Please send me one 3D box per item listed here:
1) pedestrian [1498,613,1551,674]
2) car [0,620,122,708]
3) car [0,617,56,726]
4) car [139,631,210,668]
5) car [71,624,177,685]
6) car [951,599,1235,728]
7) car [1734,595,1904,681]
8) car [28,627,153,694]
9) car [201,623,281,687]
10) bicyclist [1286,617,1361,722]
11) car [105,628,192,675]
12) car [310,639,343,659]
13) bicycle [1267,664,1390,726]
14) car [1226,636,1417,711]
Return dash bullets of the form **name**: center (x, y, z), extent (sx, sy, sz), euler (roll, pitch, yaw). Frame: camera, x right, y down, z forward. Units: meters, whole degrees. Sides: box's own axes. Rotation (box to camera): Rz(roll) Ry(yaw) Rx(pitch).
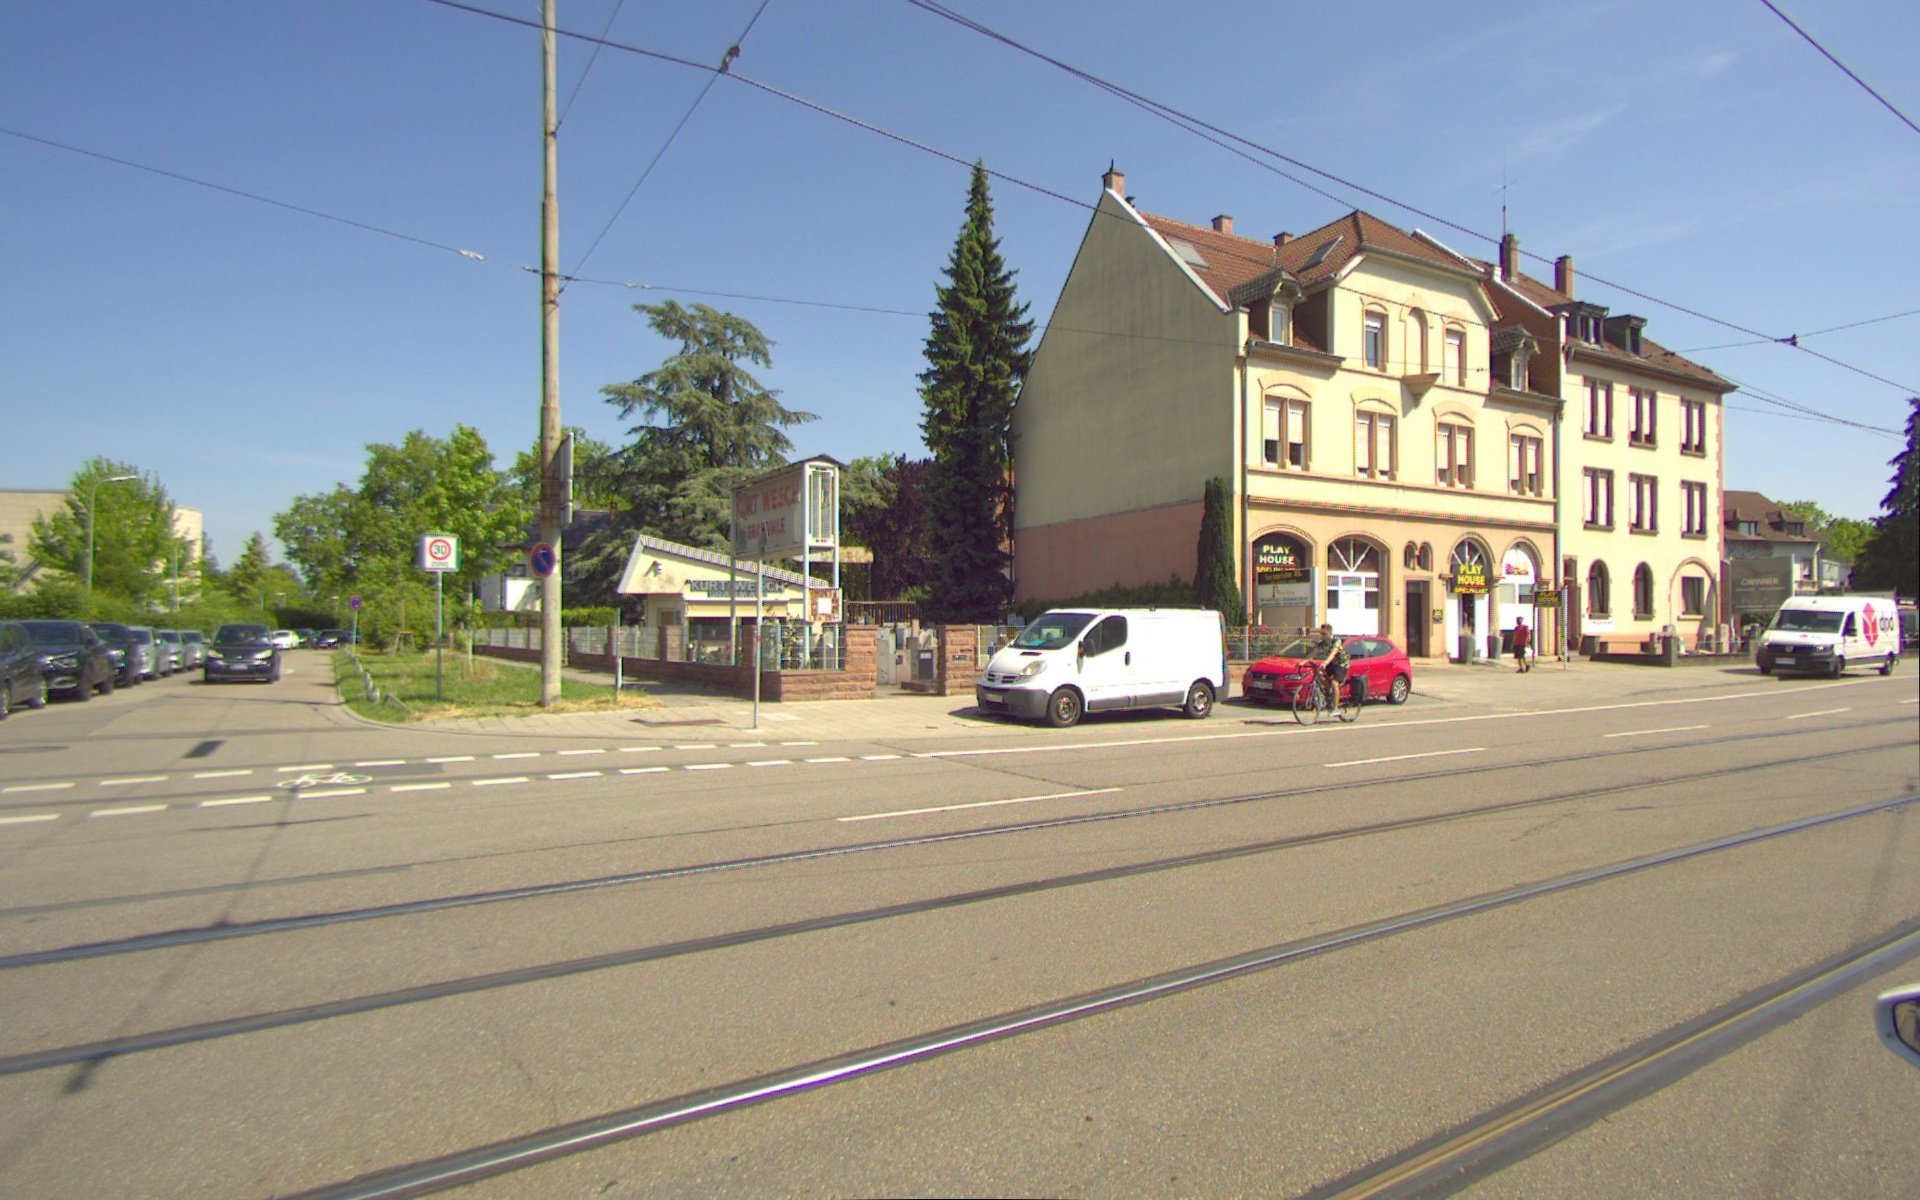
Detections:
- **pedestrian**: center (17.270, 1.321, 30.744), extent (1.114, 1.839, 0.940), euler (0, -1, -23)
- **car**: center (-17.701, 1.174, 19.427), extent (1.796, 1.539, 4.131), euler (1, -2, -33)
- **car**: center (-15.402, 1.060, 15.410), extent (1.687, 1.547, 3.663), euler (1, -2, -33)
- **car**: center (-29.935, 1.850, 38.382), extent (1.796, 1.340, 3.793), euler (1, -2, -33)
- **car**: center (-23.086, 1.448, 27.877), extent (1.796, 1.525, 4.008), euler (1, -1, -33)
- **car**: center (2.439, 1.055, 18.016), extent (4.851, 2.040, 2.073), euler (1, -1, -31)
- **car**: center (28.267, 1.189, 32.986), extent (6.432, 2.569, 2.317), euler (1, 0, -31)
- **car**: center (-20.887, 1.408, 24.282), extent (1.765, 1.463, 3.816), euler (1, -2, -33)
- **car**: center (-18.731, 1.388, 26.260), extent (1.462, 1.559, 2.951), euler (1, -1, -31)
- **bicyclist**: center (6.245, 1.171, 17.280), extent (0.973, 1.747, 0.715), euler (0, -2, -21)
- **car**: center (-26.436, 1.637, 32.827), extent (1.796, 1.422, 3.794), euler (1, -2, -33)
- **car**: center (-50.537, 3.882, 80.190), extent (1.911, 1.468, 3.801), euler (1, -2, -28)
- **bicycle**: center (6.335, 1.609, 17.253), extent (2.132, 0.997, 0.607), euler (1, -2, -22)
- **car**: center (7.639, 1.479, 21.144), extent (3.956, 1.425, 1.711), euler (1, -2, -32)
